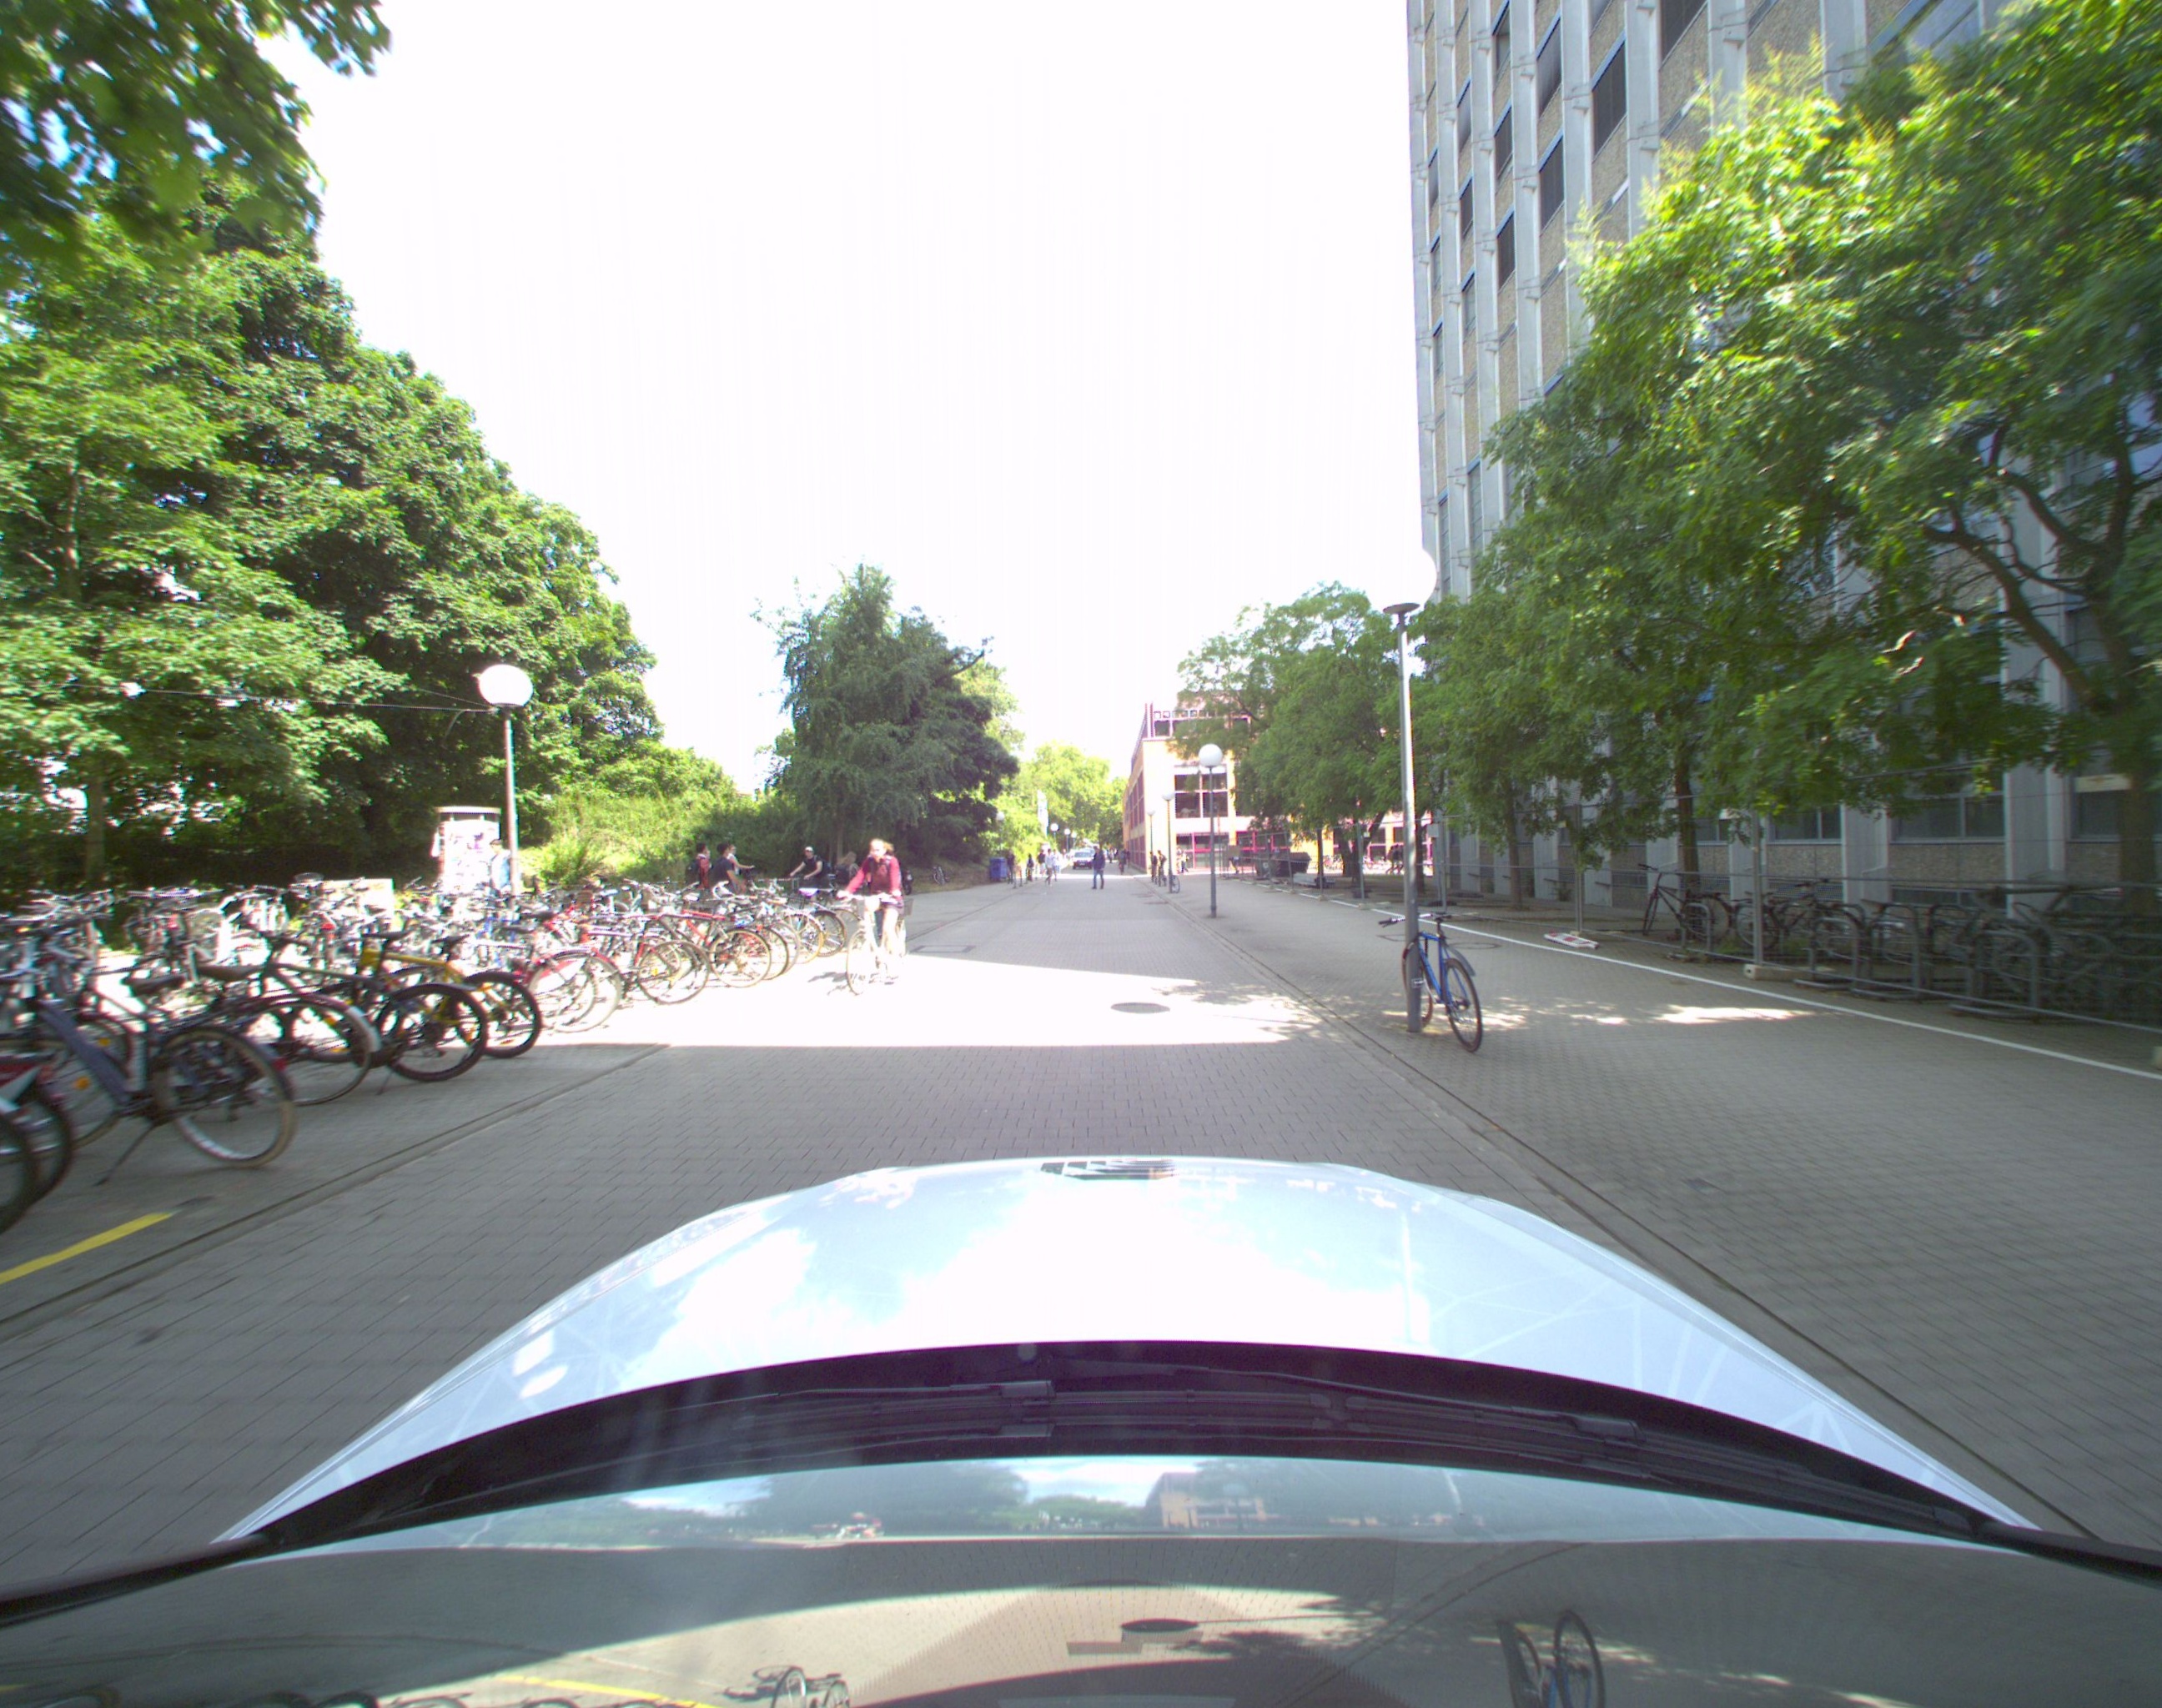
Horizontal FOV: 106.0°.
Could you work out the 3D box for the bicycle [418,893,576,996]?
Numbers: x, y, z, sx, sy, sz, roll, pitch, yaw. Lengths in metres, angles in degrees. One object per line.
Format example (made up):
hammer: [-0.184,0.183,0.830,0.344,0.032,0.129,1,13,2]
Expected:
bicycle: [-6.601,0.993,9.207,1.682,1.083,0.476,-1,0,14]

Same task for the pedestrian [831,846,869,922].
pedestrian: [-5.318,0.675,18.766,0.682,1.724,0.731,0,0,-1]

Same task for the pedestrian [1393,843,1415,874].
pedestrian: [18.483,0.254,46.666,0.900,1.728,0.684,-1,-3,-4]

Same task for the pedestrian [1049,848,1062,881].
pedestrian: [-1.510,0.627,48.091,0.723,1.881,1.080,-1,-1,-6]

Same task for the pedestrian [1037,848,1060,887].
pedestrian: [-1.610,0.653,39.874,0.786,1.845,1.109,0,0,-23]

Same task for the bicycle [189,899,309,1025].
bicycle: [-8.179,1.011,7.987,1.678,1.083,0.477,-1,-1,32]

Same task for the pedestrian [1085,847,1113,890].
pedestrian: [0.807,0.635,36.426,0.878,1.857,1.038,0,0,23]

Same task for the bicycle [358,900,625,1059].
bicycle: [-4.735,0.971,6.675,1.703,1.108,0.470,-1,0,-26]

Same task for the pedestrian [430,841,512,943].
pedestrian: [-11.296,0.671,15.086,0.760,1.804,0.990,-1,0,33]

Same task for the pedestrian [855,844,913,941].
pedestrian: [-3.561,0.673,14.713,0.772,1.680,0.898,0,0,-32]

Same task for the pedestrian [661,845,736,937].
pedestrian: [-7.532,0.703,16.067,0.710,1.724,1.071,-1,1,34]

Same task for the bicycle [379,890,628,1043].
bicycle: [-4.939,0.921,7.090,1.703,1.157,0.470,-1,0,-26]

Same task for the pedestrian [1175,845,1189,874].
pedestrian: [6.652,0.368,53.665,0.823,1.844,0.684,-1,-1,-1]

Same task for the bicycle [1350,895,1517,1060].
bicycle: [2.752,0.902,6.577,0.535,1.039,1.859,-2,0,1]

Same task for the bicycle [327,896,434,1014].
bicycle: [-7.374,1.009,8.551,1.677,1.083,0.477,-1,-1,36]

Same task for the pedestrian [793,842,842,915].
pedestrian: [-6.829,0.623,21.124,0.606,1.835,1.056,-1,-1,32]

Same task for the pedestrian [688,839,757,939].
pedestrian: [-6.868,0.651,15.613,0.677,1.835,0.947,-1,1,35]

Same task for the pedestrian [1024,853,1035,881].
pedestrian: [-3.005,0.760,47.373,0.568,1.611,0.916,-1,-1,-5]

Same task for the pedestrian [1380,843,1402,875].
pedestrian: [17.106,0.259,44.922,0.900,1.728,0.684,-1,-3,-4]

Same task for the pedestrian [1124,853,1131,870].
pedestrian: [4.564,0.722,79.373,0.584,1.672,0.699,-2,-1,3]

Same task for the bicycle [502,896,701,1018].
bicycle: [-4.836,1.001,8.293,1.706,1.062,0.469,-1,0,-34]

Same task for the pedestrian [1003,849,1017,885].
pedestrian: [-3.748,0.667,43.182,0.681,1.873,1.119,-1,-1,-3]

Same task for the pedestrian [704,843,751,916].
pedestrian: [-8.658,0.606,19.943,0.940,1.724,0.671,-2,1,-28]

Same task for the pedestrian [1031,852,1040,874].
pedestrian: [-3.450,0.693,61.955,0.681,1.620,0.977,-1,-1,-3]

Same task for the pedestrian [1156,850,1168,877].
pedestrian: [5.018,0.577,50.429,0.692,1.672,0.589,-3,-1,9]

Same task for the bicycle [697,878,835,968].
bicycle: [-4.339,0.937,11.288,1.691,1.168,0.473,-1,0,-5]

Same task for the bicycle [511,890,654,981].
bicycle: [-6.287,1.008,10.276,1.682,1.083,0.476,-1,0,13]

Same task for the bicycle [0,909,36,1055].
bicycle: [-9.154,1.039,6.810,1.677,1.083,0.477,-1,-1,37]

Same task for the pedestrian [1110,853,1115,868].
pedestrian: [3.584,0.694,92.616,0.584,1.672,0.818,-2,-1,3]

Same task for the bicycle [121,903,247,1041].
bicycle: [-8.142,1.011,7.374,1.678,1.083,0.477,-1,-1,32]

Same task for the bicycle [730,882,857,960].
bicycle: [-4.227,0.977,12.048,1.691,1.091,0.473,-1,0,-5]

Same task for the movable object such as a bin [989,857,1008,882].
movable object such as a bin: [-4.599,0.864,45.605,0.704,1.336,1.243,1,0,11]

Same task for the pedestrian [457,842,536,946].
pedestrian: [-10.569,0.693,14.734,0.824,1.815,0.888,-1,0,31]

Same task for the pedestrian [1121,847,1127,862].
pedestrian: [4.982,0.085,93.561,0.584,1.672,0.818,-2,-1,3]

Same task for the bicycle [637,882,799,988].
bicycle: [-4.296,0.936,9.725,1.695,1.168,0.472,-1,0,-12]

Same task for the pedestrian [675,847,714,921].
pedestrian: [-9.363,0.716,19.704,0.689,1.724,0.723,-2,1,-35]

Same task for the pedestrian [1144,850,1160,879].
pedestrian: [4.127,0.633,47.062,0.847,1.651,0.589,-1,-1,9]

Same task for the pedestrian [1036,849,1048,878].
pedestrian: [-2.500,0.595,52.118,0.680,1.844,0.783,-1,-1,1]

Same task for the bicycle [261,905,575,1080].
bicycle: [-4.754,0.962,5.943,1.694,1.108,0.580,-1,0,-11]

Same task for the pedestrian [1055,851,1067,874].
pedestrian: [-1.366,0.603,55.521,0.738,1.542,0.889,1,-2,0]

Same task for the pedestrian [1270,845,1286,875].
pedestrian: [11.895,0.377,49.173,0.896,1.728,0.687,-2,-3,12]

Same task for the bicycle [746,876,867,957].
bicycle: [-4.192,0.944,12.517,1.693,1.159,0.473,-1,0,-8]

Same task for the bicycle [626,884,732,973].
bicycle: [-5.565,0.997,11.384,0.504,1.083,1.702,-1,0,5]

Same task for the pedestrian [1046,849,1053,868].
pedestrian: [-3.121,0.435,81.271,0.680,1.844,0.783,-1,-1,1]

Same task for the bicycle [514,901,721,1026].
bicycle: [-4.472,1.017,7.936,1.706,1.018,0.469,-1,0,-34]

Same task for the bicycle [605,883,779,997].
bicycle: [-4.337,0.940,9.182,1.697,1.168,0.471,-1,0,-16]

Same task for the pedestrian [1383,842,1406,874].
pedestrian: [16.975,0.223,44.082,0.900,1.728,0.684,-1,-3,-4]

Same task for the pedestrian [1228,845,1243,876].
pedestrian: [9.303,0.393,49.020,0.762,1.794,0.589,-3,-1,9]

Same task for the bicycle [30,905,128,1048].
bicycle: [-8.940,1.026,7.249,1.677,1.083,0.477,-1,-1,37]

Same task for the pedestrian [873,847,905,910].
pedestrian: [-5.341,0.671,22.723,0.682,1.724,0.904,0,0,-1]

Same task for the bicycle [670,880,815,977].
bicycle: [-4.336,0.936,10.436,1.763,1.168,0.476,-1,0,14]

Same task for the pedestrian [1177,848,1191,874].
pedestrian: [6.705,0.460,52.961,0.778,1.620,0.684,-1,-1,-1]
